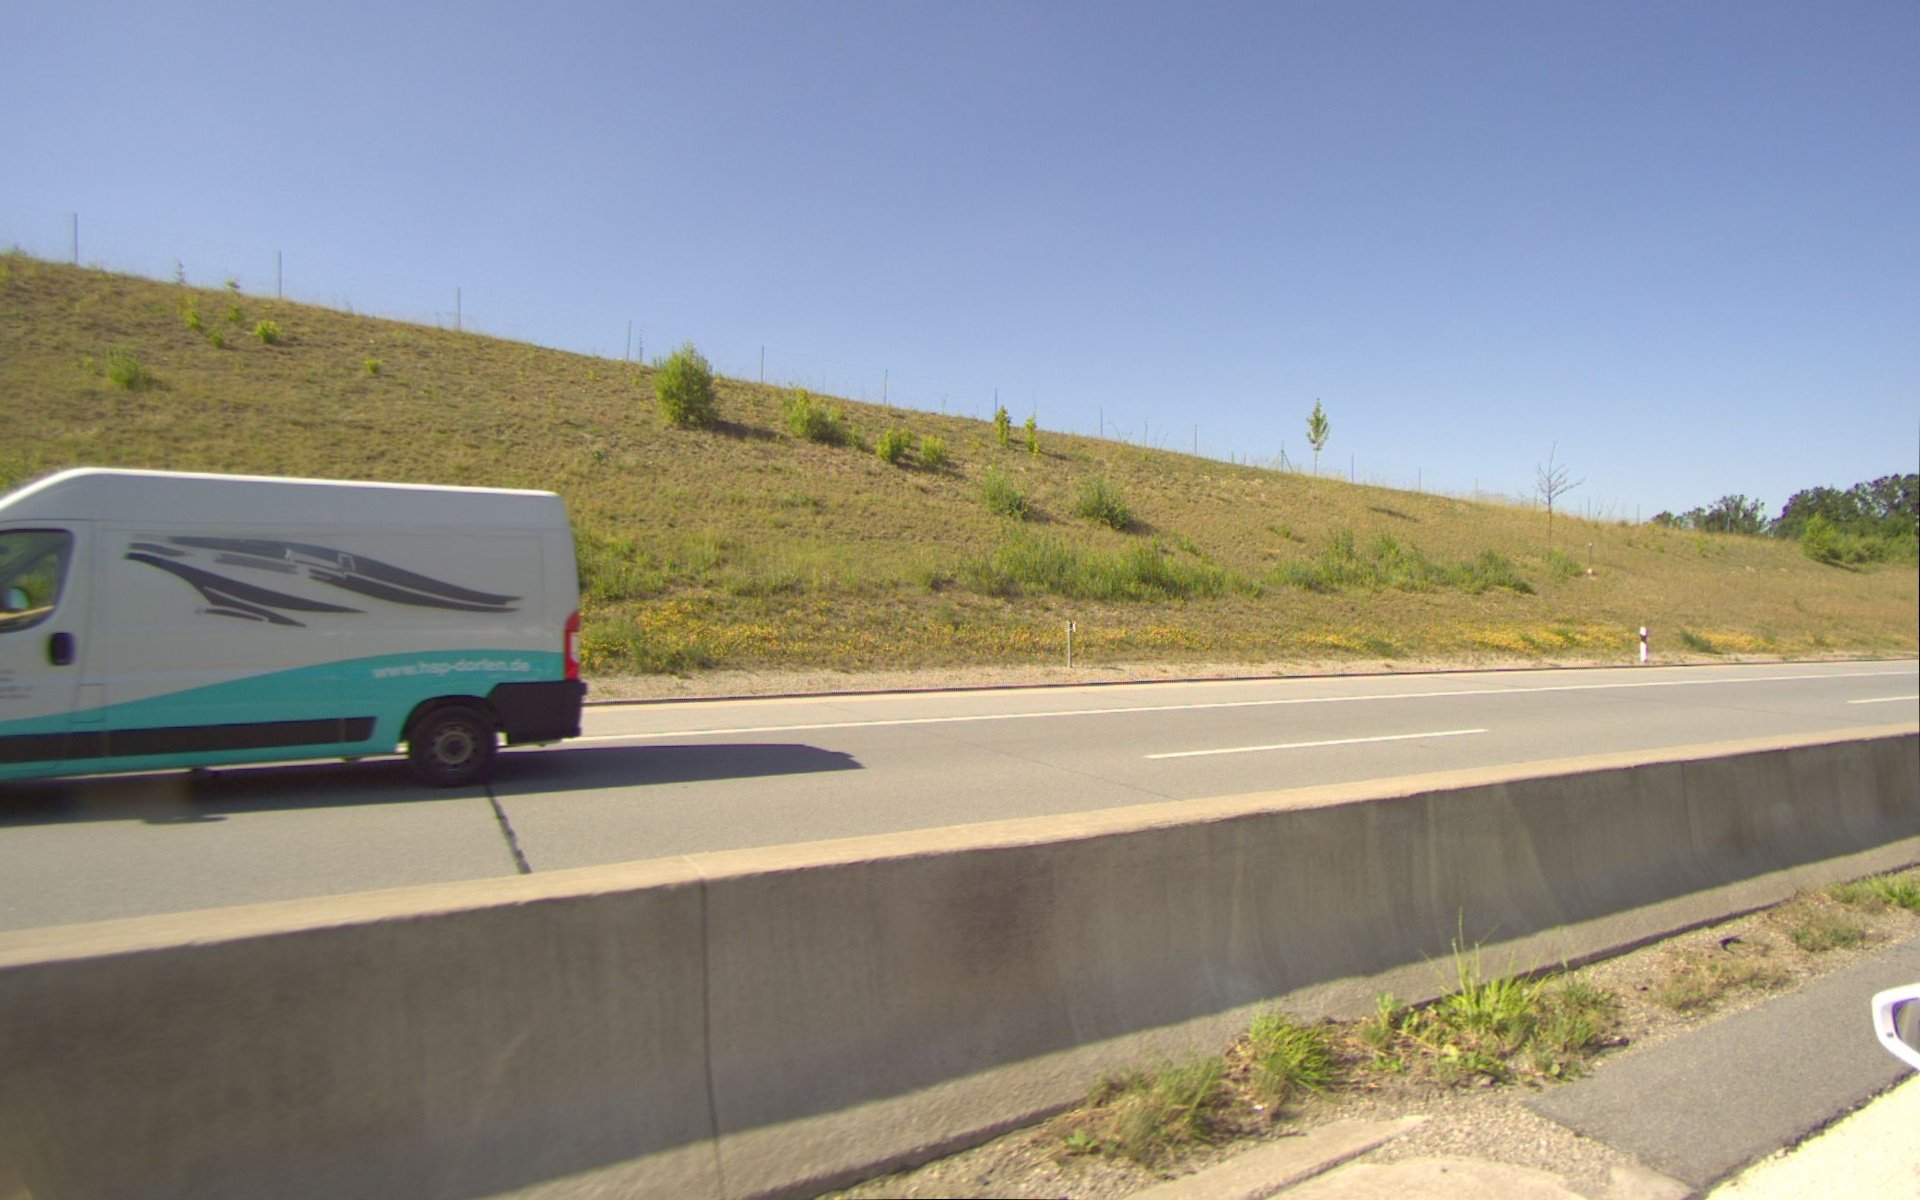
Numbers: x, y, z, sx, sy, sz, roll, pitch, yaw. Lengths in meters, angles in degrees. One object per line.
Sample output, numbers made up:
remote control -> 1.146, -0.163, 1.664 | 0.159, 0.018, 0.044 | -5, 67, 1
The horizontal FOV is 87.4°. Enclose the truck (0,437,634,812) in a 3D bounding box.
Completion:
truck -> -5.744, 0.178, 8.161 | 5.602, 2.481, 1.984 | 1, 0, -31
